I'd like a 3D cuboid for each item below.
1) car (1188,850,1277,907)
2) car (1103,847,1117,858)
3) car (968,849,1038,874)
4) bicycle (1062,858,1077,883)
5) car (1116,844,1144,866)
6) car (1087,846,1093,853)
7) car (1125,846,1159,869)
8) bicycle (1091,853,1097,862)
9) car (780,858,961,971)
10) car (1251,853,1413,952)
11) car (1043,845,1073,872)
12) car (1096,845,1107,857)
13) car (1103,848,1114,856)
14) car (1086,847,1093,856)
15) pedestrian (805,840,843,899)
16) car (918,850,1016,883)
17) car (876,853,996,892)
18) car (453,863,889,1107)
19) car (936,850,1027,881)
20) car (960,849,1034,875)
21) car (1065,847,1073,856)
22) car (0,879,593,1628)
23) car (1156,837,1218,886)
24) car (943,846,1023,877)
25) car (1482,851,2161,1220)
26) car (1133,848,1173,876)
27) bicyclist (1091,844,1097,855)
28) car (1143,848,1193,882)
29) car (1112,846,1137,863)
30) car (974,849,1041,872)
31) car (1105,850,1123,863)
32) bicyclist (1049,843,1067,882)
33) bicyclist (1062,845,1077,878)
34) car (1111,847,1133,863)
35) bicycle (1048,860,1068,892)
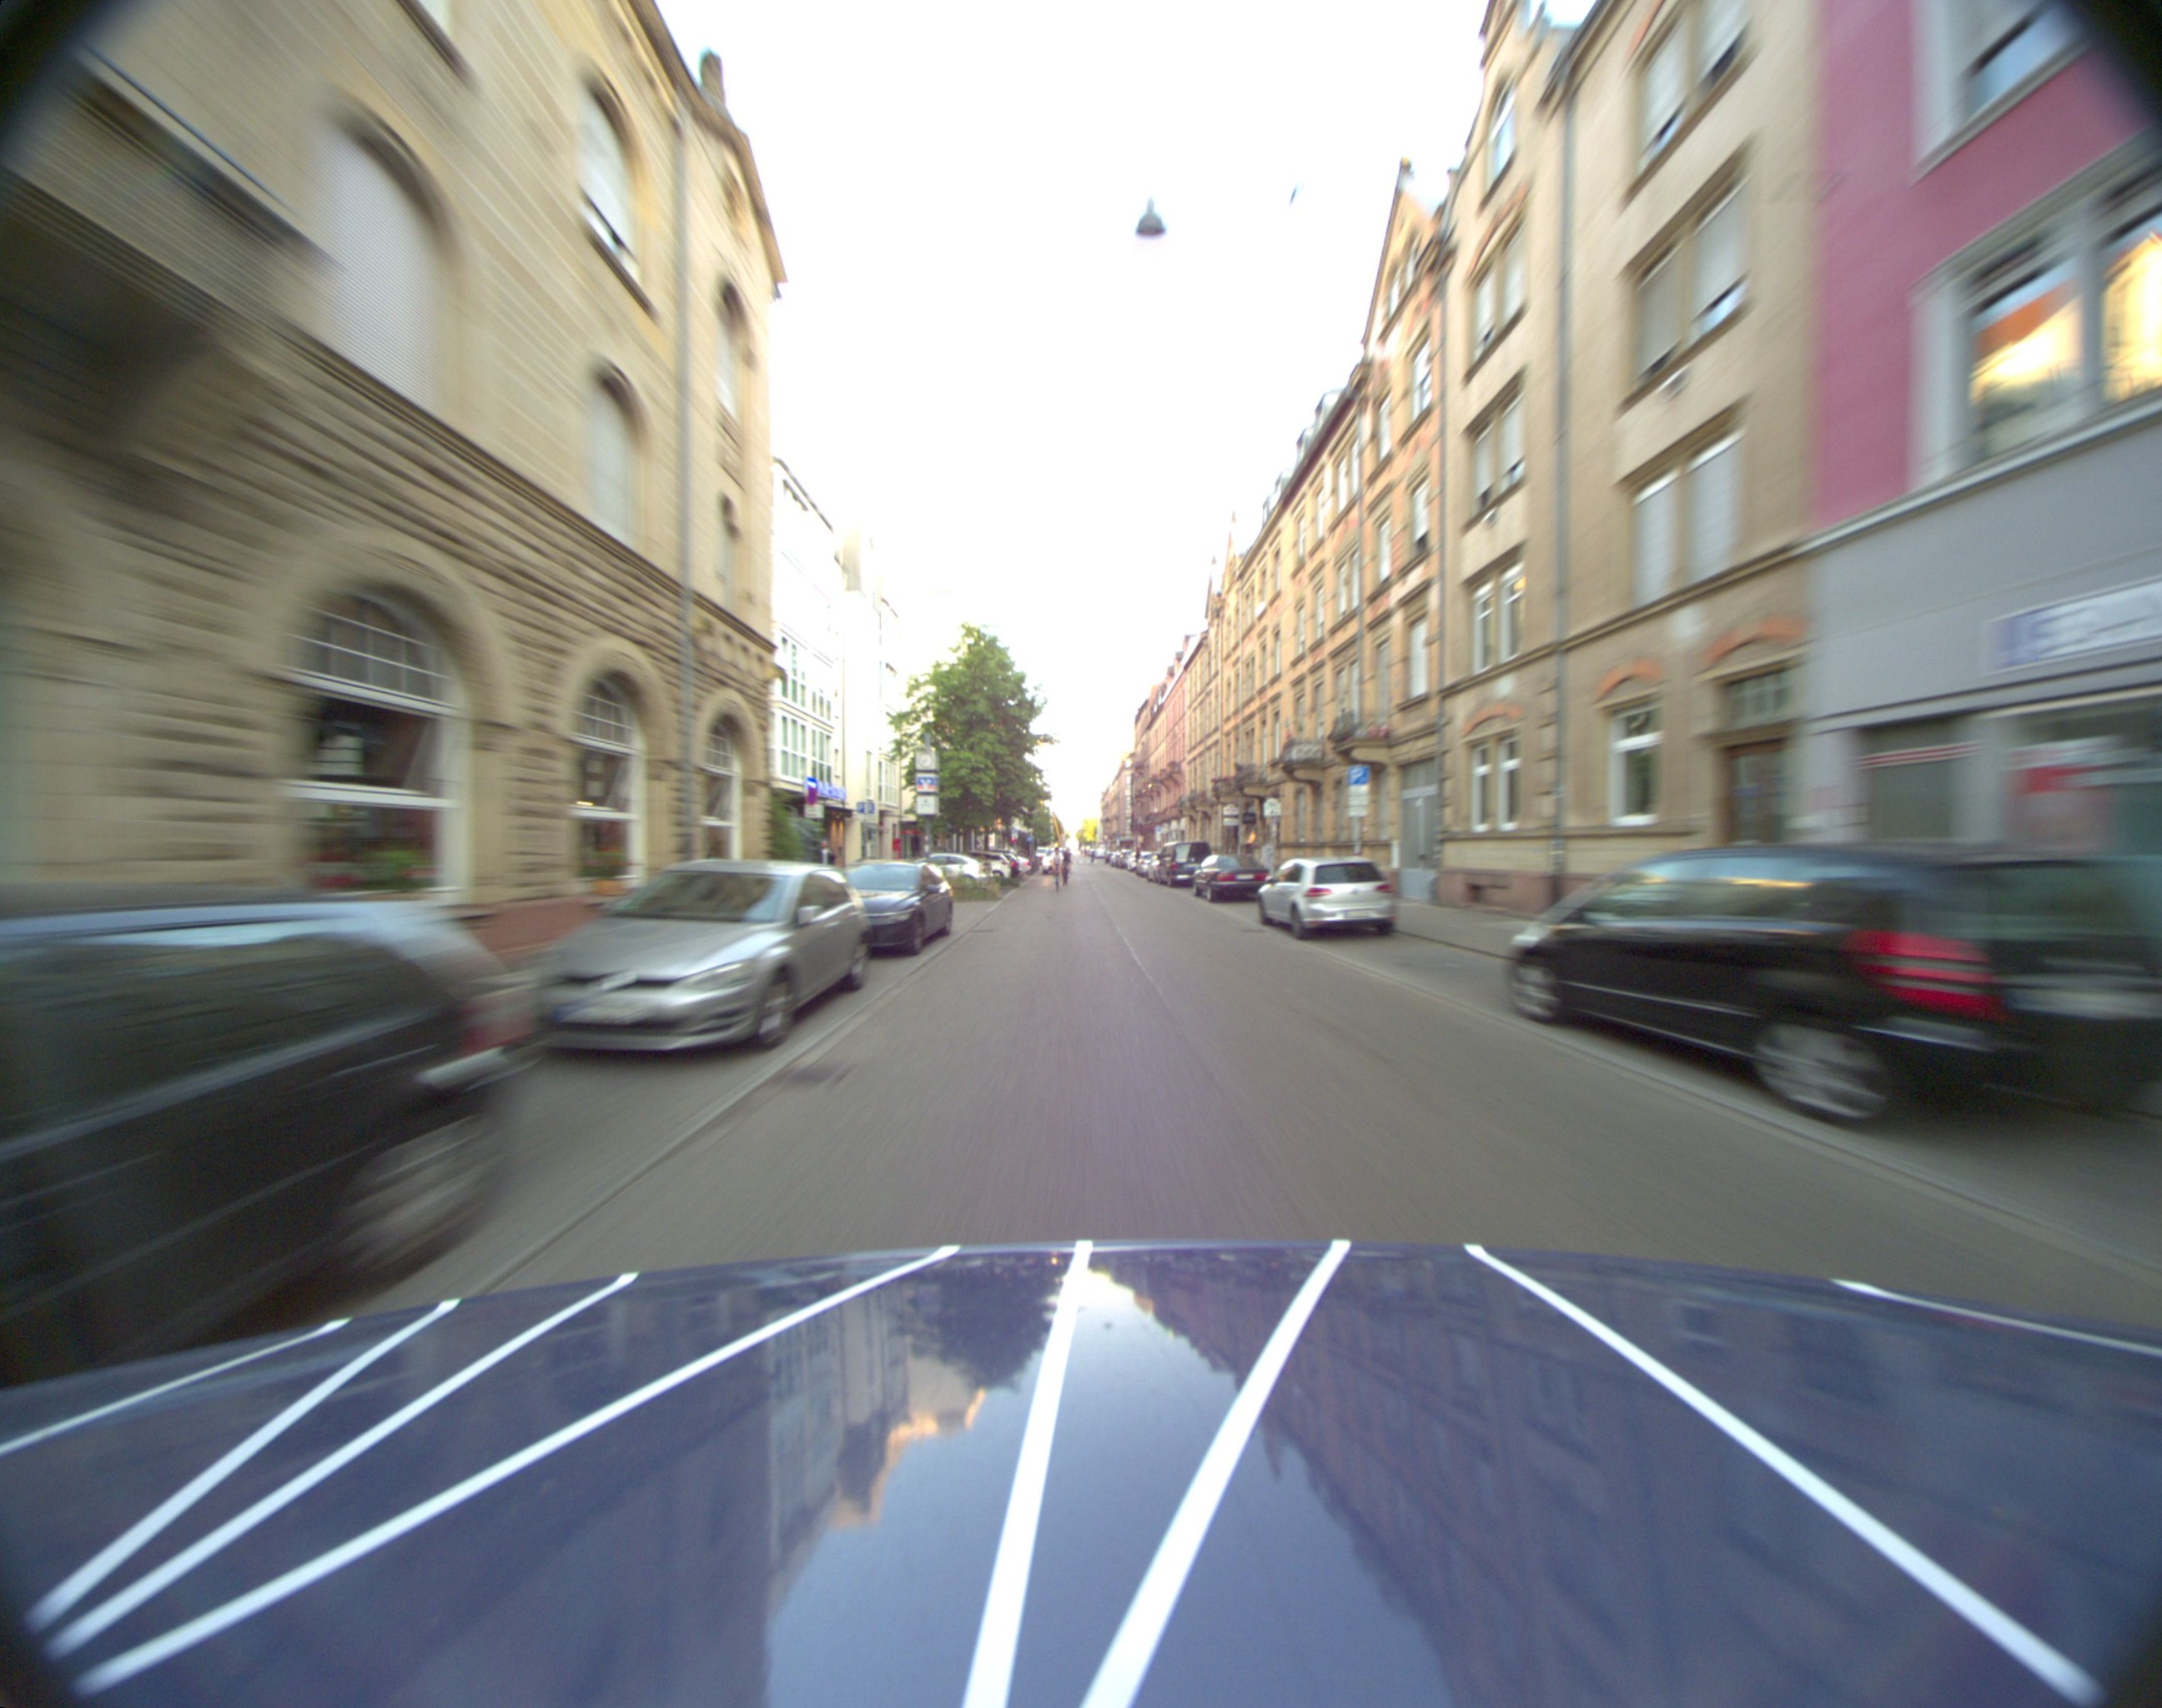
[{"bbox_3d":[4.663,0.698,23.976,1.757,1.466,4.279,-6,1,-1],"label":"car"},{"bbox_3d":[4.255,-0.260,111.527,1.757,1.426,4.057,-6,1,0],"label":"car"},{"bbox_3d":[-4.941,0.462,48.394,4.301,1.520,1.823,0,1,-1],"label":"car"},{"bbox_3d":[-0.538,0.753,35.536,0.686,1.145,2.115,0,1,0],"label":"bicycle"},{"bbox_3d":[4.218,0.074,65.641,1.758,1.663,4.056,-6,1,-3],"label":"car"},{"bbox_3d":[2.921,-1.426,254.631,1.941,2.264,4.057,0,1,0],"label":"car"},{"bbox_3d":[4.395,0.233,55.332,1.758,1.426,4.056,-6,1,-3],"label":"car"},{"bbox_3d":[1.729,0.483,99.173,0.686,1.145,2.115,0,1,0],"label":"bicycle"},{"bbox_3d":[-3.304,0.864,12.909,1.768,1.476,4.556,1,1,0],"label":"car"},{"bbox_3d":[4.714,0.824,14.905,1.757,1.466,4.057,-6,1,1],"label":"car"},{"bbox_3d":[-1.553,0.260,52.336,1.957,1.729,4.284,-2,1,-1],"label":"car"},{"bbox_3d":[4.045,-0.620,149.262,1.757,2.264,4.057,-6,1,0],"label":"car"},{"bbox_3d":[5.055,-0.386,139.611,1.757,1.426,4.057,-6,1,0],"label":"car"},{"bbox_3d":[2.158,-0.559,192.300,1.941,2.264,4.057,0,1,0],"label":"car"},{"bbox_3d":[-7.891,0.462,23.375,0.851,1.756,0.833,1,1,3],"label":"pedestrian"},{"bbox_3d":[-5.260,0.564,35.529,4.301,1.520,1.823,0,1,-1],"label":"car"},{"bbox_3d":[-5.511,0.681,29.326,4.301,1.443,1.823,0,1,-1],"label":"car"},{"bbox_3d":[-3.270,0.891,7.270,1.768,1.476,4.555,1,1,-1],"label":"car"},{"bbox_3d":[-4.914,0.557,37.929,4.301,1.520,1.823,0,1,-1],"label":"car"},{"bbox_3d":[-5.026,0.478,46.083,4.301,1.528,1.823,0,1,-1],"label":"car"},{"bbox_3d":[-3.152,-0.753,200.664,1.941,2.264,4.057,0,1,0],"label":"car"},{"bbox_3d":[-3.216,0.924,1.493,1.768,1.476,4.554,3,1,-4],"label":"car"},{"bbox_3d":[4.583,0.297,33.528,1.874,1.949,4.291,-3,1,-2],"label":"car"},{"bbox_3d":[-5.523,0.405,43.258,4.301,1.666,1.823,0,1,-1],"label":"car"},{"bbox_3d":[4.873,0.821,5.486,1.757,1.583,4.056,-2,1,-1],"label":"car"},{"bbox_3d":[4.330,0.446,46.284,1.758,1.466,4.056,-6,1,-3],"label":"car"},{"bbox_3d":[1.724,-0.595,99.156,0.686,1.503,1.036,0,1,0],"label":"bicyclist"},{"bbox_3d":[4.376,0.528,38.688,1.758,1.466,4.056,-6,1,-3],"label":"car"},{"bbox_3d":[4.061,0.037,71.650,1.758,1.426,4.056,-6,1,-3],"label":"car"},{"bbox_3d":[-4.874,0.433,50.868,4.301,1.520,1.823,0,1,-1],"label":"car"},{"bbox_3d":[3.930,0.282,91.678,1.757,1.426,4.056,-6,1,-1],"label":"car"},{"bbox_3d":[-0.882,0.317,29.419,0.686,1.503,0.973,0,1,0],"label":"bicyclist"},{"bbox_3d":[-0.539,0.335,35.561,0.686,1.503,0.973,0,1,0],"label":"bicyclist"},{"bbox_3d":[4.144,0.055,77.288,1.758,1.426,4.056,-6,1,-3],"label":"car"},{"bbox_3d":[-0.881,0.835,29.379,0.686,1.145,2.115,0,1,0],"label":"bicycle"}]
